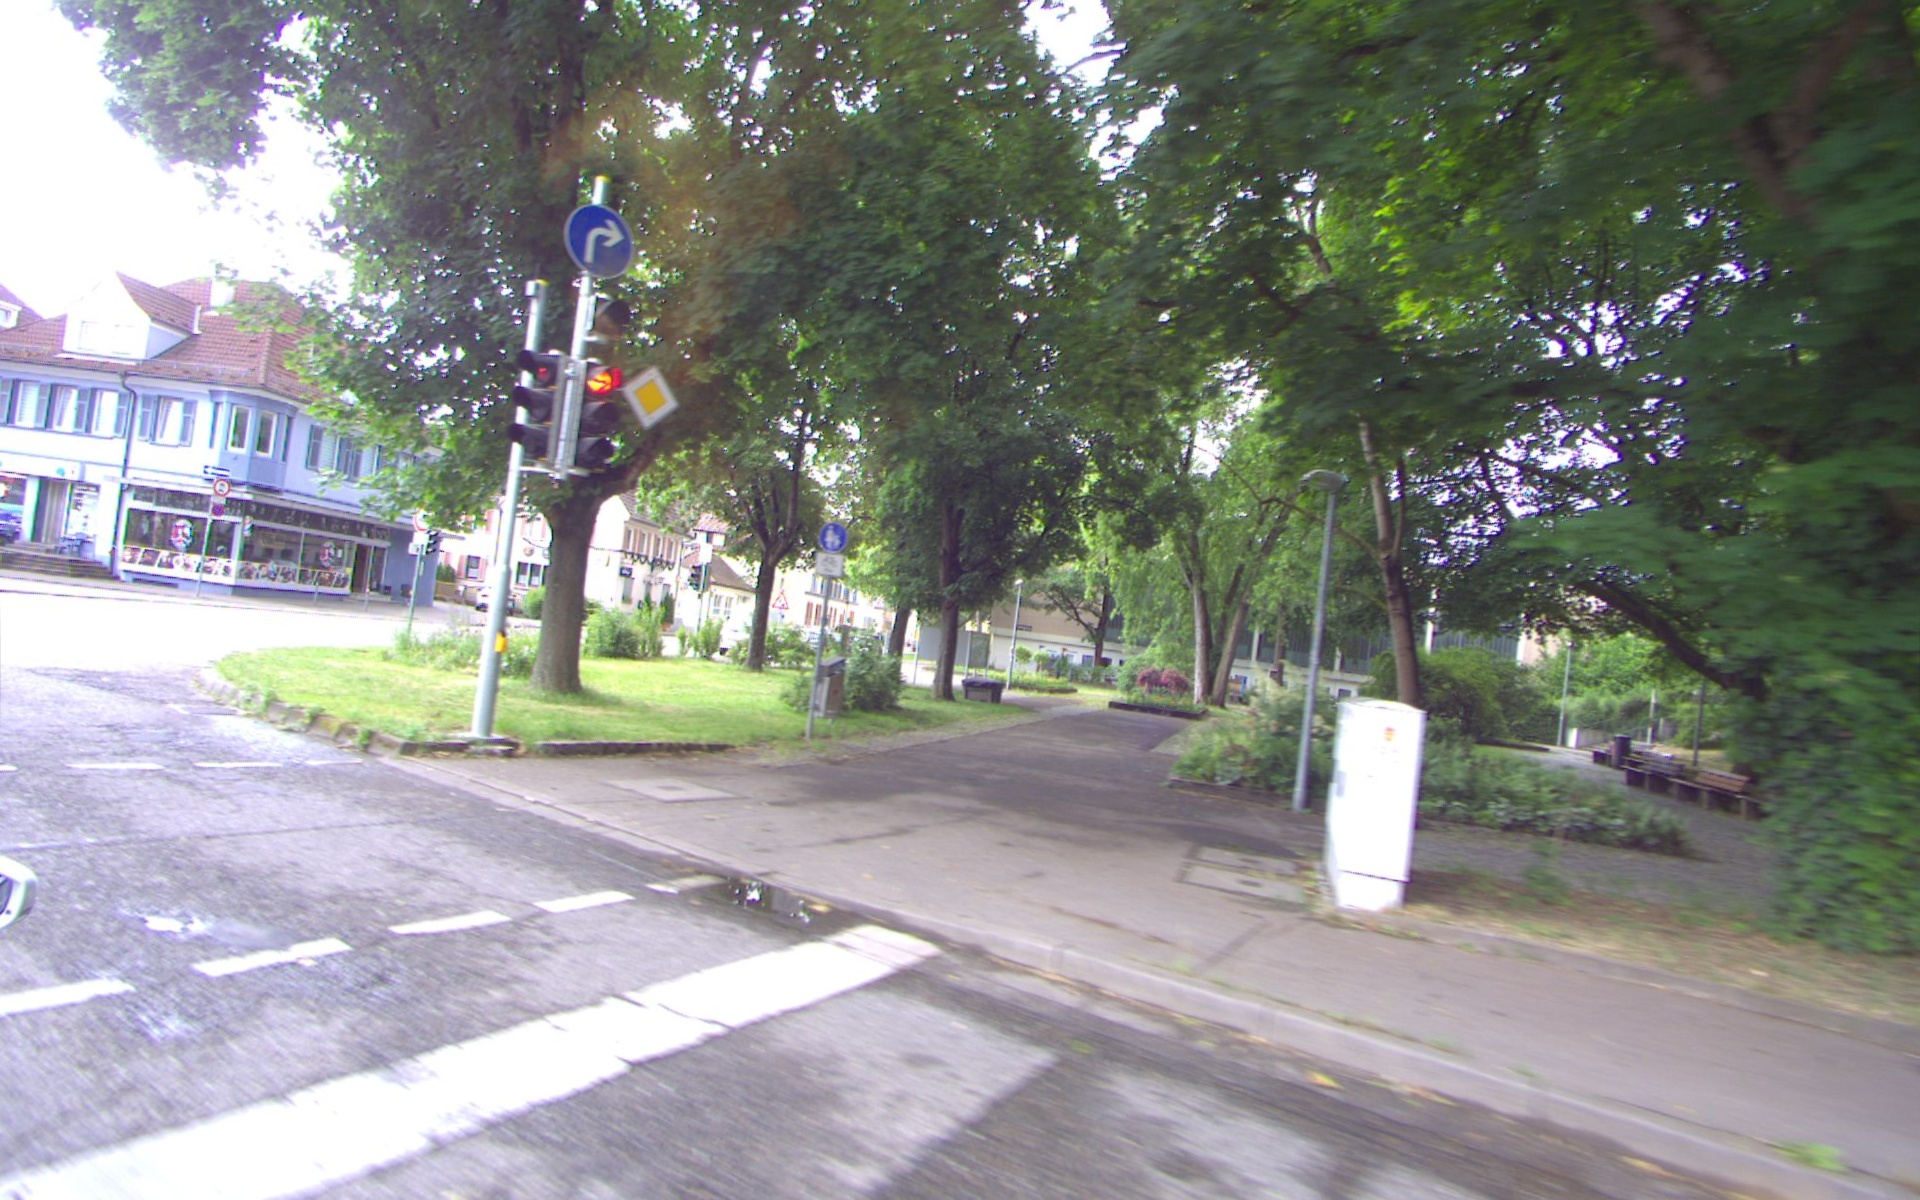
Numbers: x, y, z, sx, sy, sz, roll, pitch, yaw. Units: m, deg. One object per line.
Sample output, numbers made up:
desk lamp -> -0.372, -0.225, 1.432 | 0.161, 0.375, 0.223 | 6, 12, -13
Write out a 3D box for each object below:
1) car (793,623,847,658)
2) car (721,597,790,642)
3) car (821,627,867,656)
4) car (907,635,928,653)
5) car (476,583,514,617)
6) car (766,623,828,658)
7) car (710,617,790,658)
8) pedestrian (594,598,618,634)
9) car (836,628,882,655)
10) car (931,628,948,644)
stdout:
car -> -7.369, 2.136, 53.253 | 1.838, 1.590, 4.004 | 6, -2, 5
car -> -12.923, 1.287, 64.140 | 2.291, 2.419, 5.966 | 6, -2, 7
car -> -6.719, 2.451, 58.611 | 1.706, 1.406, 3.746 | 6, -2, 7
car -> -5.365, 5.687, 128.526 | 1.962, 2.037, 4.005 | 7, -2, 5
car -> -24.014, -0.014, 51.872 | 1.552, 1.479, 3.419 | 8, -2, -26
car -> -7.874, 2.001, 48.950 | 1.767, 1.472, 3.964 | 6, -2, 7
car -> -8.943, 1.658, 43.209 | 1.864, 1.472, 4.552 | 6, -2, 7
pedestrian -> -18.114, 0.835, 51.477 | 0.743, 1.717, 0.647 | 6, -1, 4
car -> -6.467, 2.730, 64.956 | 1.888, 1.472, 4.407 | 6, -2, 7
car -> -3.013, 5.339, 147.079 | 1.962, 2.037, 4.004 | 7, -2, 4
